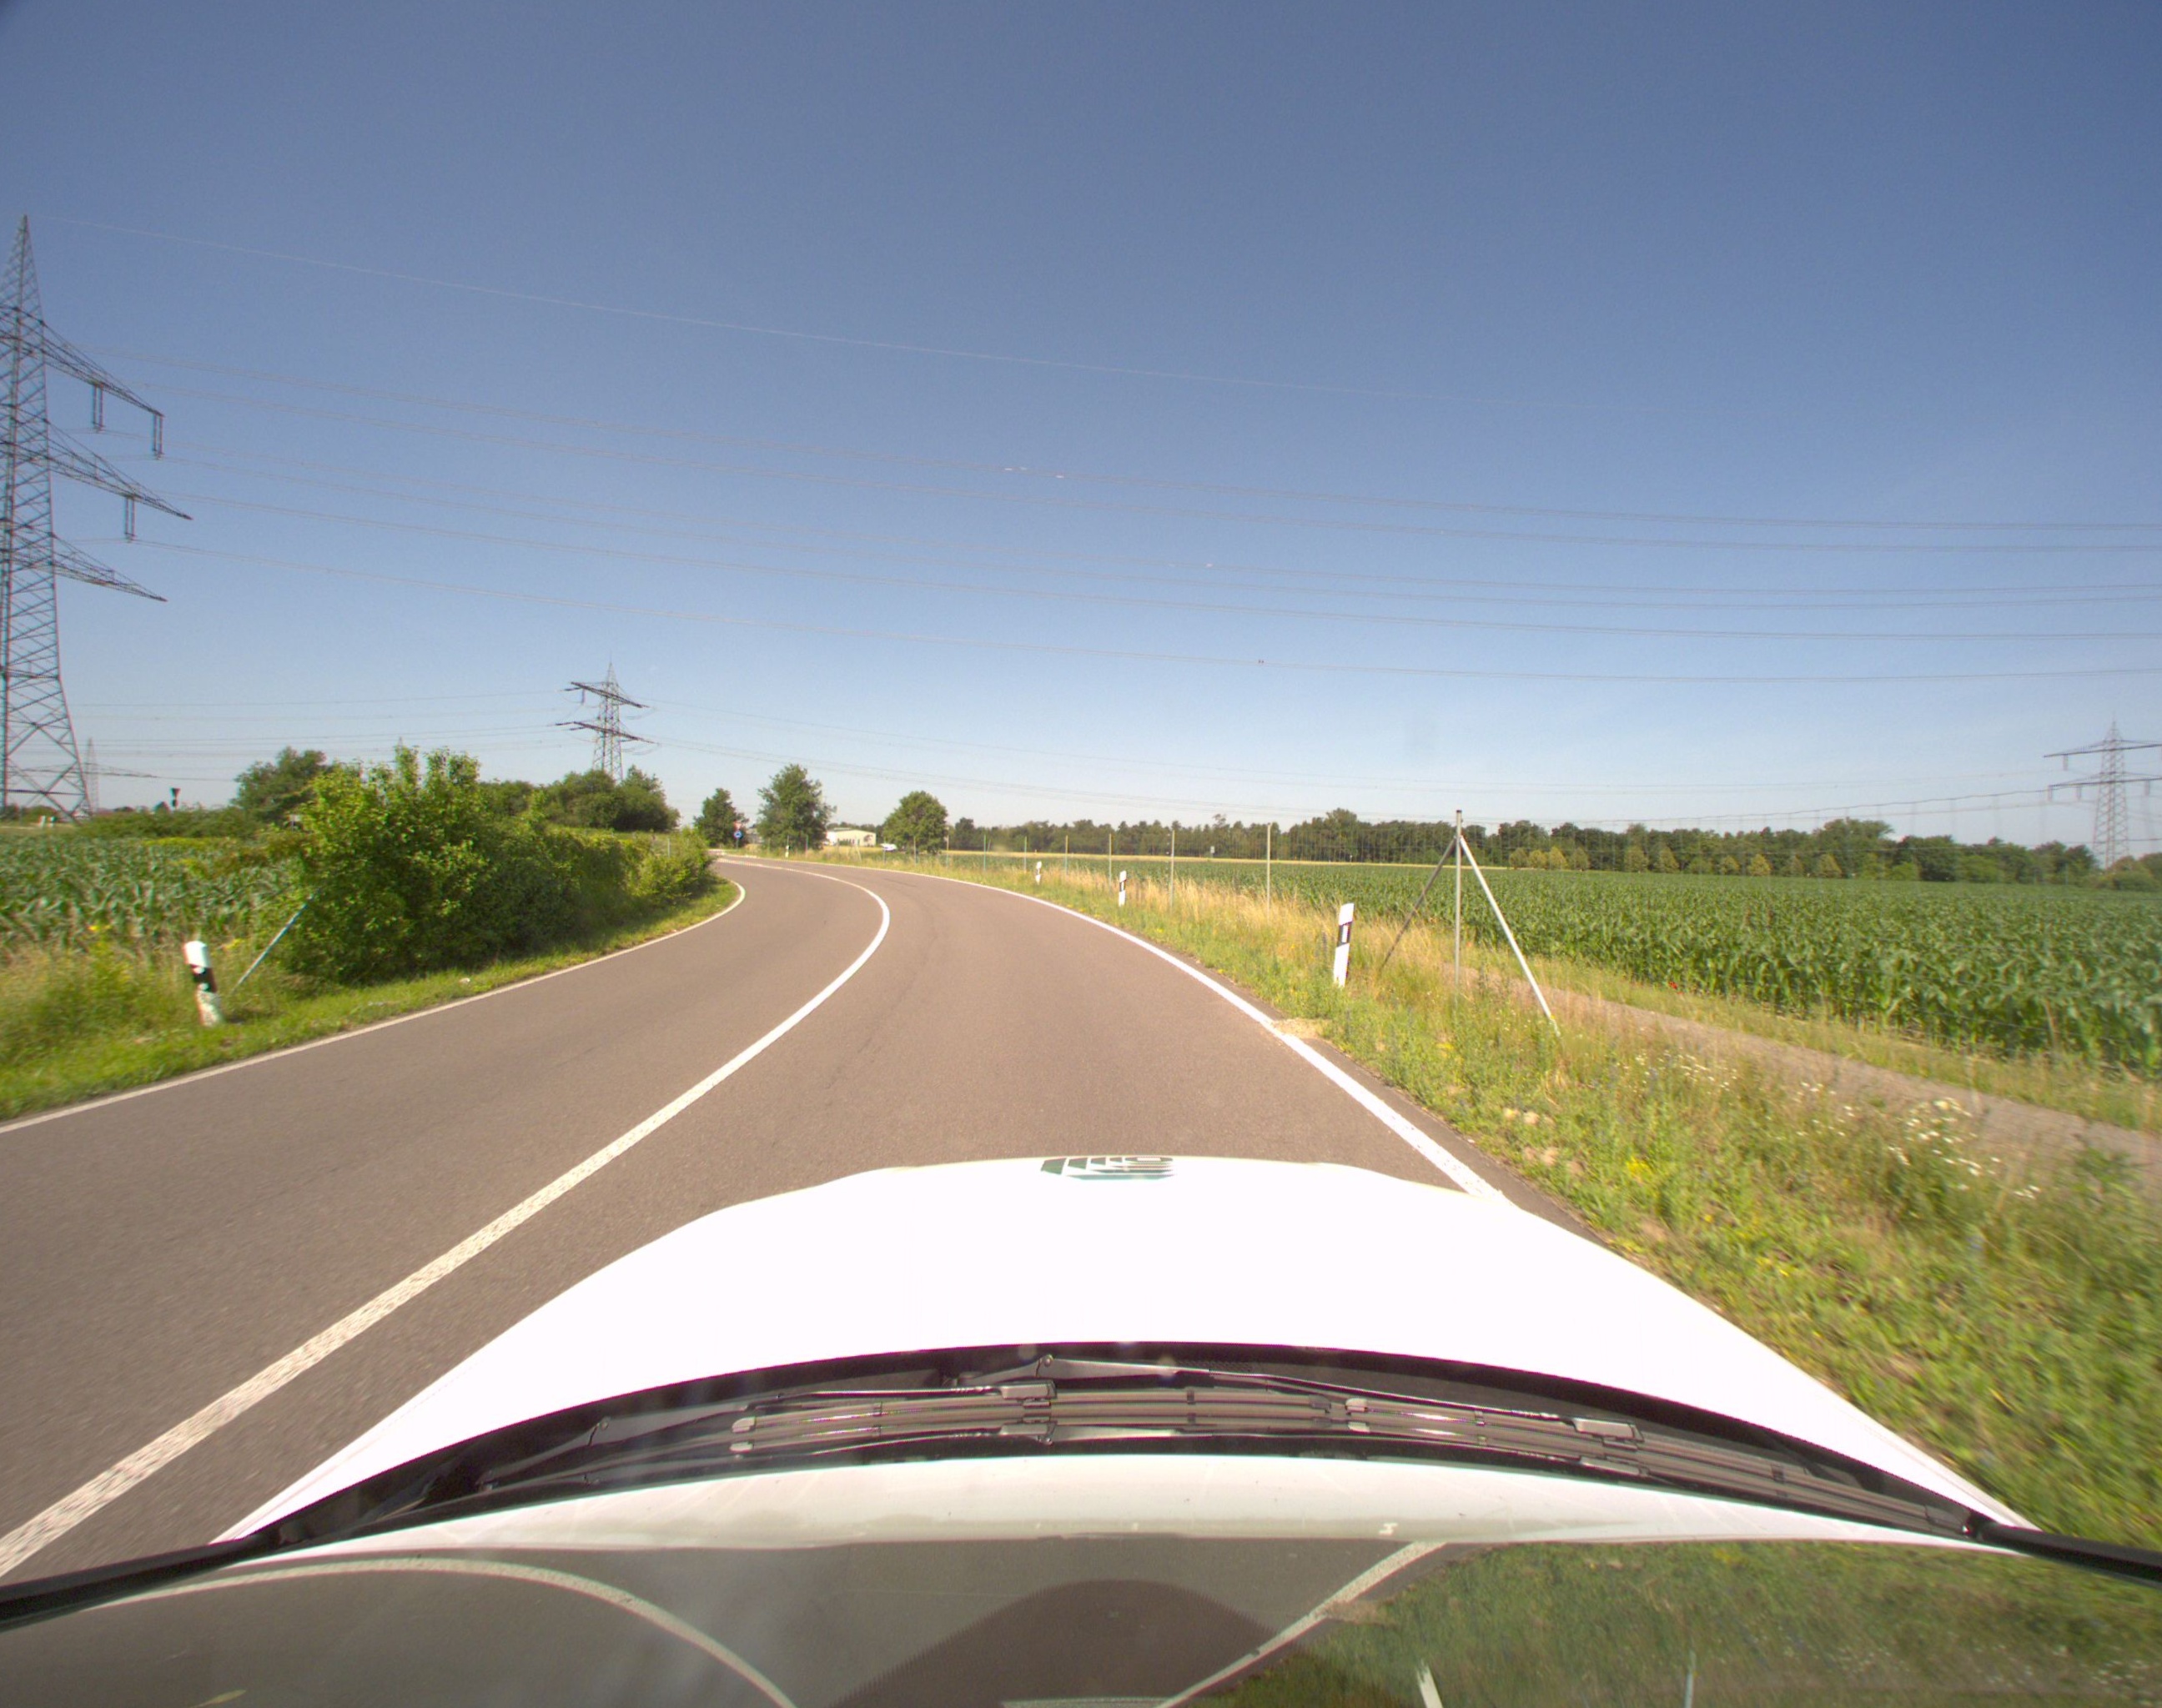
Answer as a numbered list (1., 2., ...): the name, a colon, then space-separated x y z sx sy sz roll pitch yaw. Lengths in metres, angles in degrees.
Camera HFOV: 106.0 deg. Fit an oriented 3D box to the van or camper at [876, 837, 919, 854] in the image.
1. van or camper: -26.474 -1.182 117.615 5.802 2.266 1.975 1 0 -45
